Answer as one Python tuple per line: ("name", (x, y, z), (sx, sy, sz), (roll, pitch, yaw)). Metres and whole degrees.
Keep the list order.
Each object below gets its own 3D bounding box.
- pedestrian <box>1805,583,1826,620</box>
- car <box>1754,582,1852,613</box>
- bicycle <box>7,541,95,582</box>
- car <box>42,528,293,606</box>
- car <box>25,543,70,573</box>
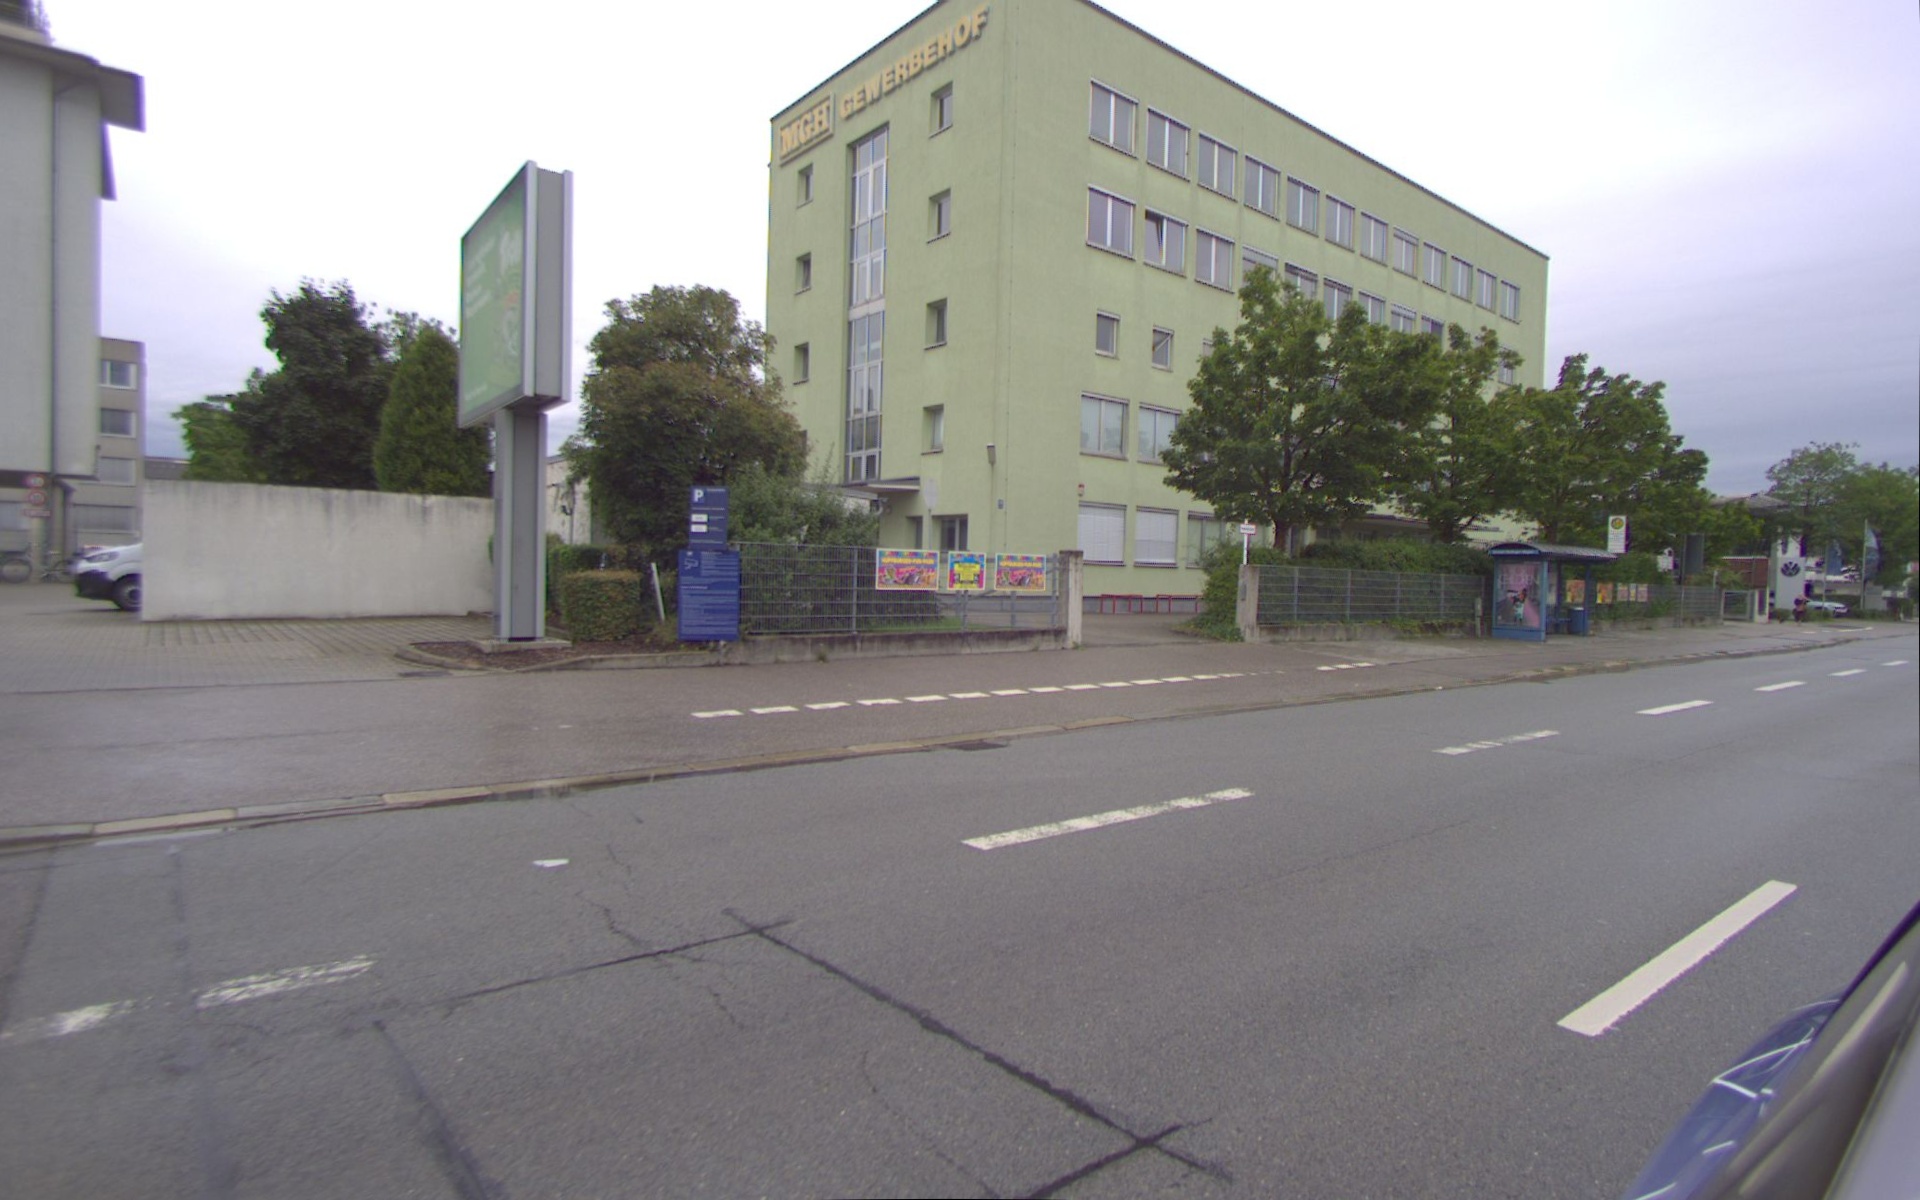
("pedestrian", (43.835, 0.065, 51.861), (0.676, 1.844, 0.682), (0, 0, -40))
("car", (54.801, -0.187, 65.884), (4.605, 1.865, 1.783), (1, 1, 29))
("bicycle", (-26.127, -1.094, 29.126), (0.448, 1.130, 1.847), (1, 1, 41))
("car", (-16.192, -0.640, 20.849), (3.928, 1.456, 1.829), (0, 1, -39))
("car", (-58.755, -2.696, 65.231), (1.964, 1.838, 3.996), (0, 1, -40))
